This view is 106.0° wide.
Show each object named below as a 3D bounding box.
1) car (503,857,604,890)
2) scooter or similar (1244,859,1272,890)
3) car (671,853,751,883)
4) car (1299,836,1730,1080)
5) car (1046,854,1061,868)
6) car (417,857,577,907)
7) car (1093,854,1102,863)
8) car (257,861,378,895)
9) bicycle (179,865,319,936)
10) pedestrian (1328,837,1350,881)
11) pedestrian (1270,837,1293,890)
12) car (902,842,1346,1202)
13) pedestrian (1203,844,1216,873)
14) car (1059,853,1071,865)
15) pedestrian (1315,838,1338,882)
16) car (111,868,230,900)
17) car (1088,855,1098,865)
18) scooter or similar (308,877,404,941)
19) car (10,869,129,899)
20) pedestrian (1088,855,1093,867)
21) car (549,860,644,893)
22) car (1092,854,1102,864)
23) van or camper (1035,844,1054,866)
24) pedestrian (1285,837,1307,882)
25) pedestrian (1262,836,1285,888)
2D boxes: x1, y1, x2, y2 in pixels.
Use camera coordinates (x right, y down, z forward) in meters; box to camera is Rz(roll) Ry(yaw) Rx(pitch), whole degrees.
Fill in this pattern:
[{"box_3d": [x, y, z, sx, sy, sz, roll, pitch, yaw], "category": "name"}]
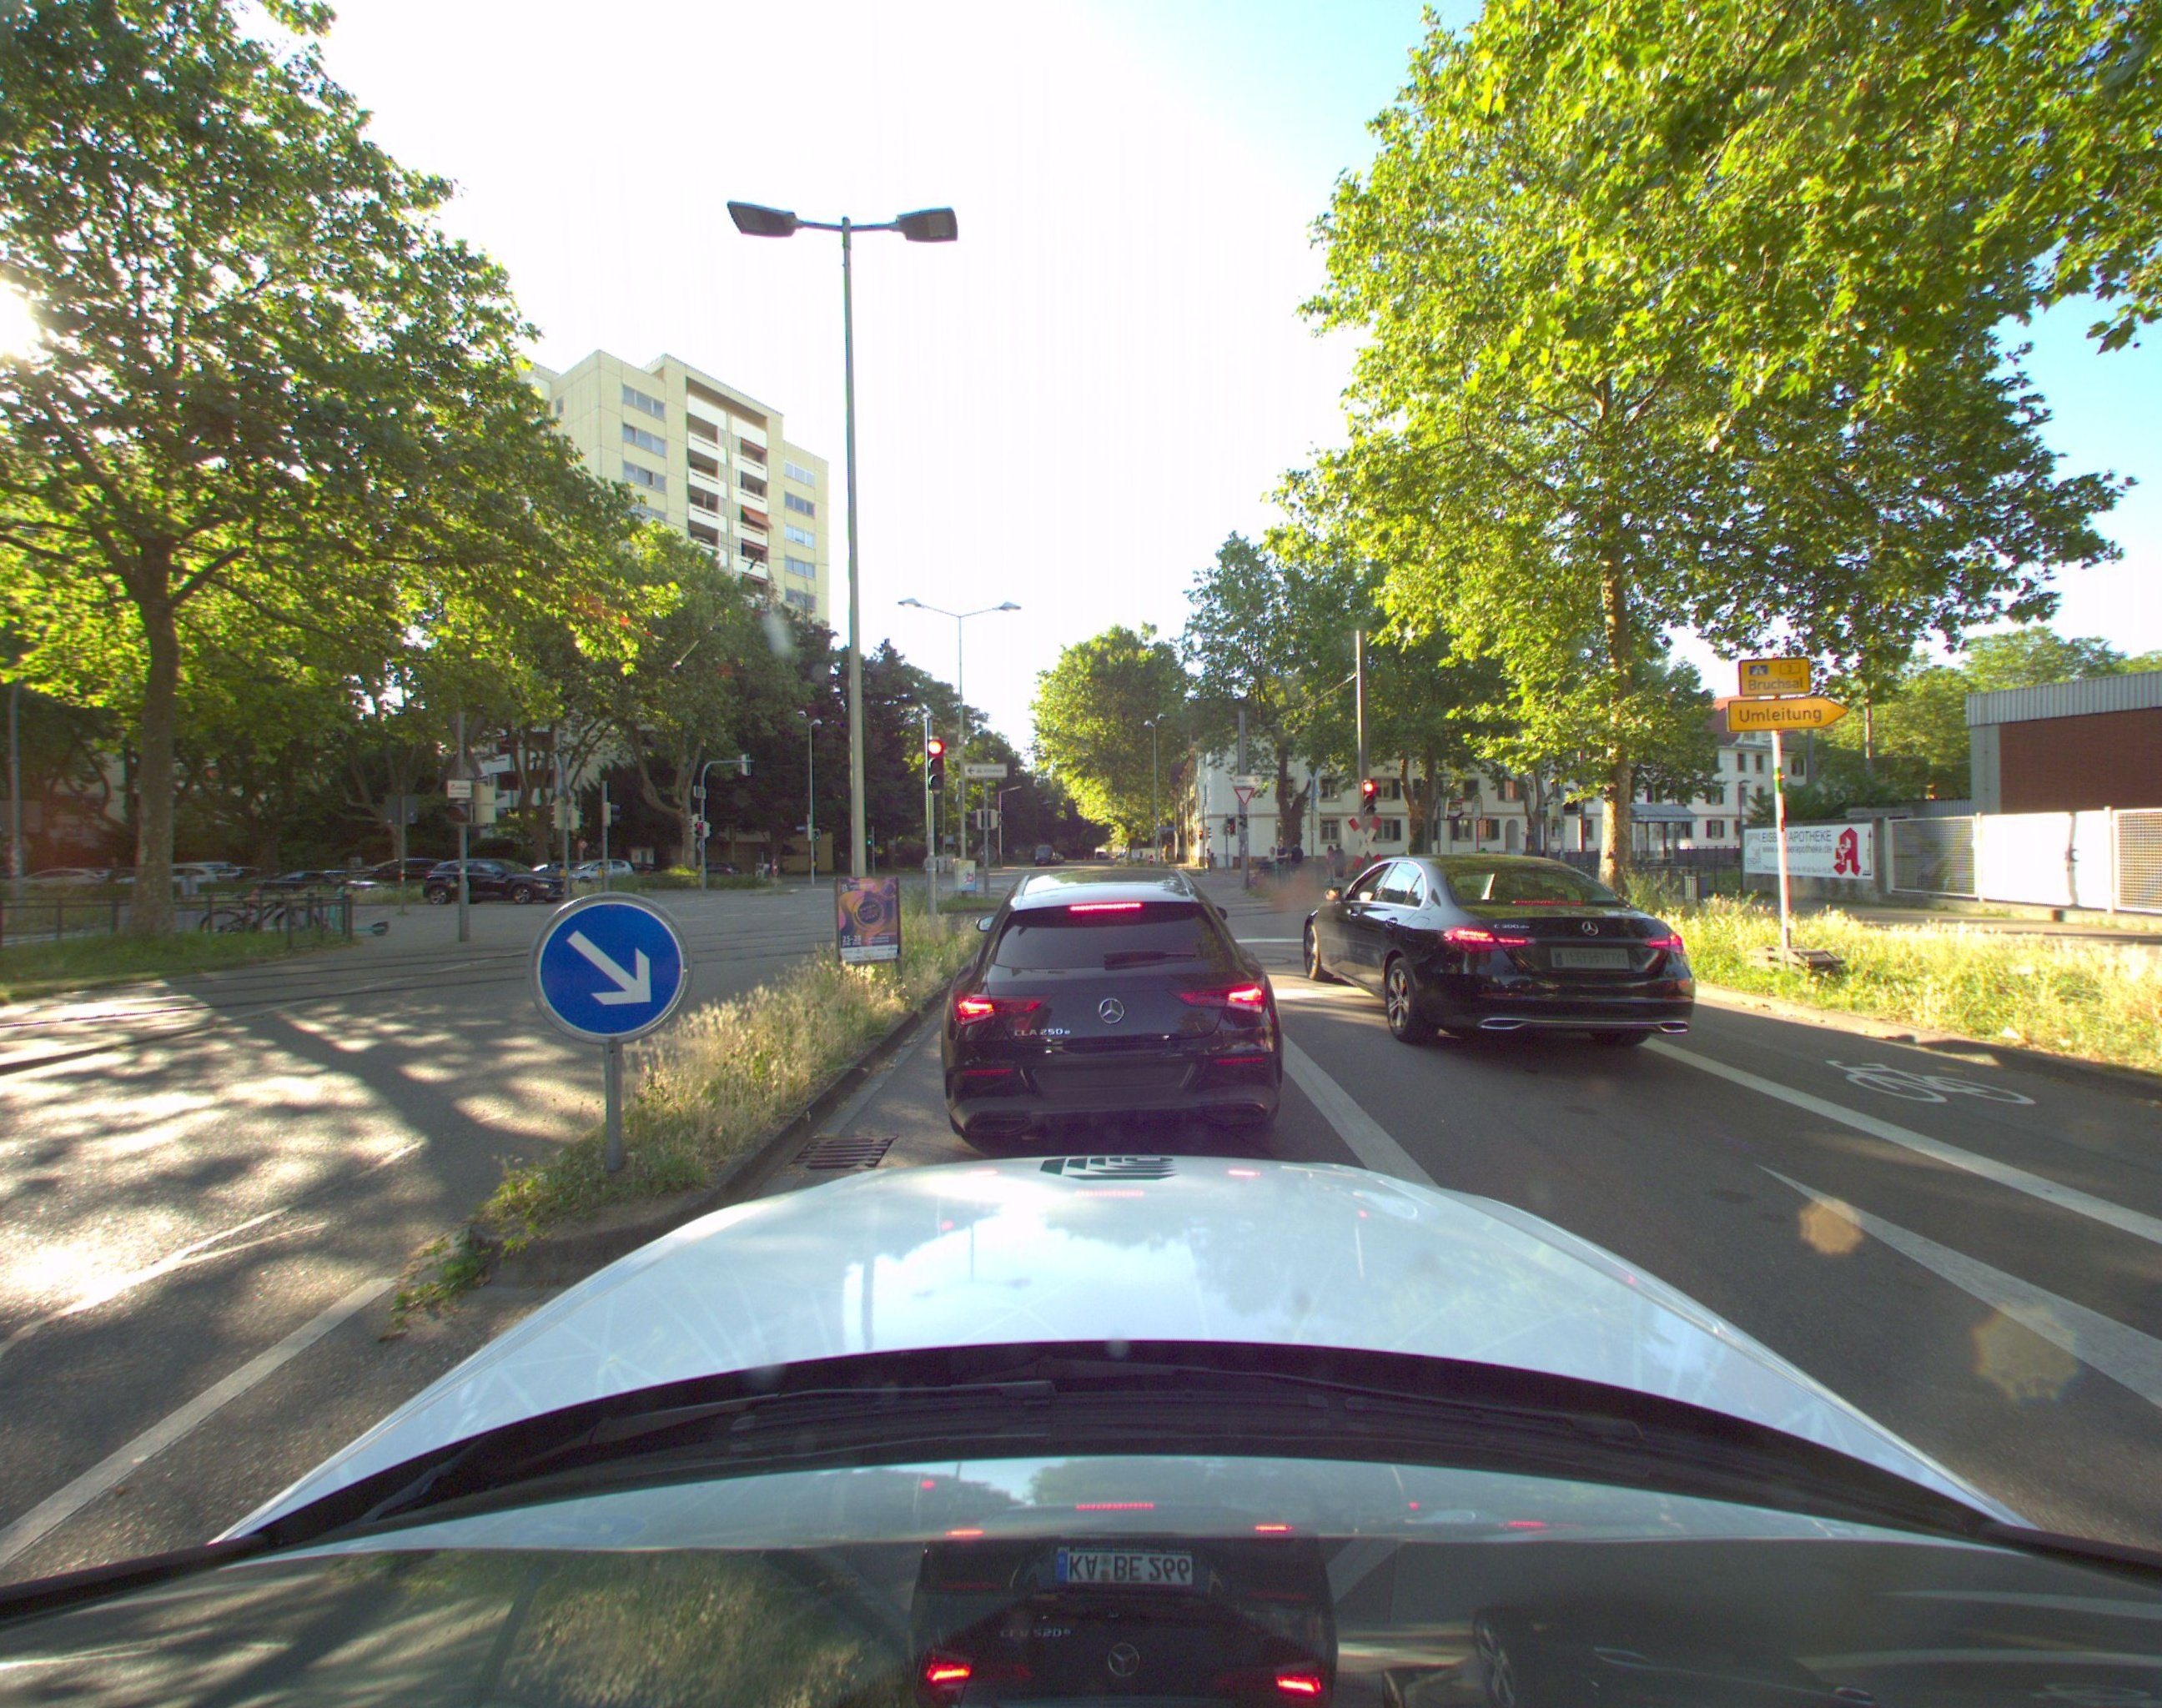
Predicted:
[{"box_3d": [-27.224, 0.973, 42.159, 1.716, 1.596, 4.025, -1, -1, 32], "category": "car"}, {"box_3d": [6.608, 0.762, 30.492, 0.826, 1.104, 0.808, 0, -1, -4], "category": "scooter or similar"}, {"box_3d": [-22.644, 0.851, 49.921, 3.963, 1.774, 2.005, -1, -1, 9], "category": "car"}, {"box_3d": [3.331, 0.617, 7.388, 1.880, 1.490, 4.388, 0, 2, 5], "category": "car"}, {"box_3d": [-3.672, 0.949, 109.869, 1.727, 1.765, 4.343, 0, -1, 2], "category": "car"}, {"box_3d": [-19.463, 0.911, 27.277, 3.981, 1.596, 1.735, 0, -1, -5], "category": "car"}, {"box_3d": [3.240, 0.901, 158.622, 1.727, 1.765, 4.020, 0, -1, 2], "category": "car"}, {"box_3d": [-37.418, 1.144, 39.996, 1.716, 1.596, 4.025, -1, -1, 32], "category": "car"}, {"box_3d": [-15.957, 0.871, 15.668, 1.845, 1.307, 0.380, 0, -1, -26], "category": "bicycle"}, {"box_3d": [11.569, 0.229, 36.537, 0.703, 1.918, 0.838, 0, -1, -2], "category": "pedestrian"}, {"box_3d": [7.408, 0.342, 30.081, 0.680, 1.918, 0.707, 0, -1, 0], "category": "pedestrian"}, {"box_3d": [0.290, 0.688, 5.475, 1.881, 1.450, 4.004, 0, 2, 3], "category": "car"}, {"box_3d": [8.561, 0.311, 54.293, 0.703, 1.918, 0.838, 0, -1, -2], "category": "pedestrian"}, {"box_3d": [-2.477, 0.827, 126.674, 1.727, 1.765, 3.972, 0, -1, 2], "category": "car"}, {"box_3d": [10.718, 0.258, 35.557, 0.703, 1.918, 0.838, 0, -1, -2], "category": "pedestrian"}, {"box_3d": [-49.164, 1.586, 44.068, 1.716, 1.596, 4.025, -1, -1, 32], "category": "car"}, {"box_3d": [2.098, 1.008, 145.734, 1.727, 1.765, 4.020, 0, -1, 2], "category": "car"}, {"box_3d": [-15.097, 1.117, 16.980, 0.408, 1.239, 1.450, -1, -1, 40], "category": "scooter or similar"}, {"box_3d": [-57.105, 1.664, 46.071, 1.716, 1.596, 4.025, -1, -1, 32], "category": "car"}, {"box_3d": [1.532, 1.052, 130.198, 0.704, 1.918, 0.837, 0, -1, -8], "category": "pedestrian"}, {"box_3d": [-24.927, 1.126, 42.024, 1.716, 1.596, 3.831, -1, -1, 32], "category": "car"}, {"box_3d": [2.910, 0.980, 150.539, 1.727, 1.765, 4.020, 0, -1, 2], "category": "car"}, {"box_3d": [-4.423, 0.129, 100.048, 1.986, 2.541, 4.653, 0, -1, 2], "category": "van or camper"}, {"box_3d": [9.306, 0.247, 35.235, 0.703, 1.918, 0.838, 0, -1, -2], "category": "pedestrian"}, {"box_3d": [7.284, 0.297, 30.857, 0.681, 1.918, 0.707, 0, -1, -2], "category": "pedestrian"}]
